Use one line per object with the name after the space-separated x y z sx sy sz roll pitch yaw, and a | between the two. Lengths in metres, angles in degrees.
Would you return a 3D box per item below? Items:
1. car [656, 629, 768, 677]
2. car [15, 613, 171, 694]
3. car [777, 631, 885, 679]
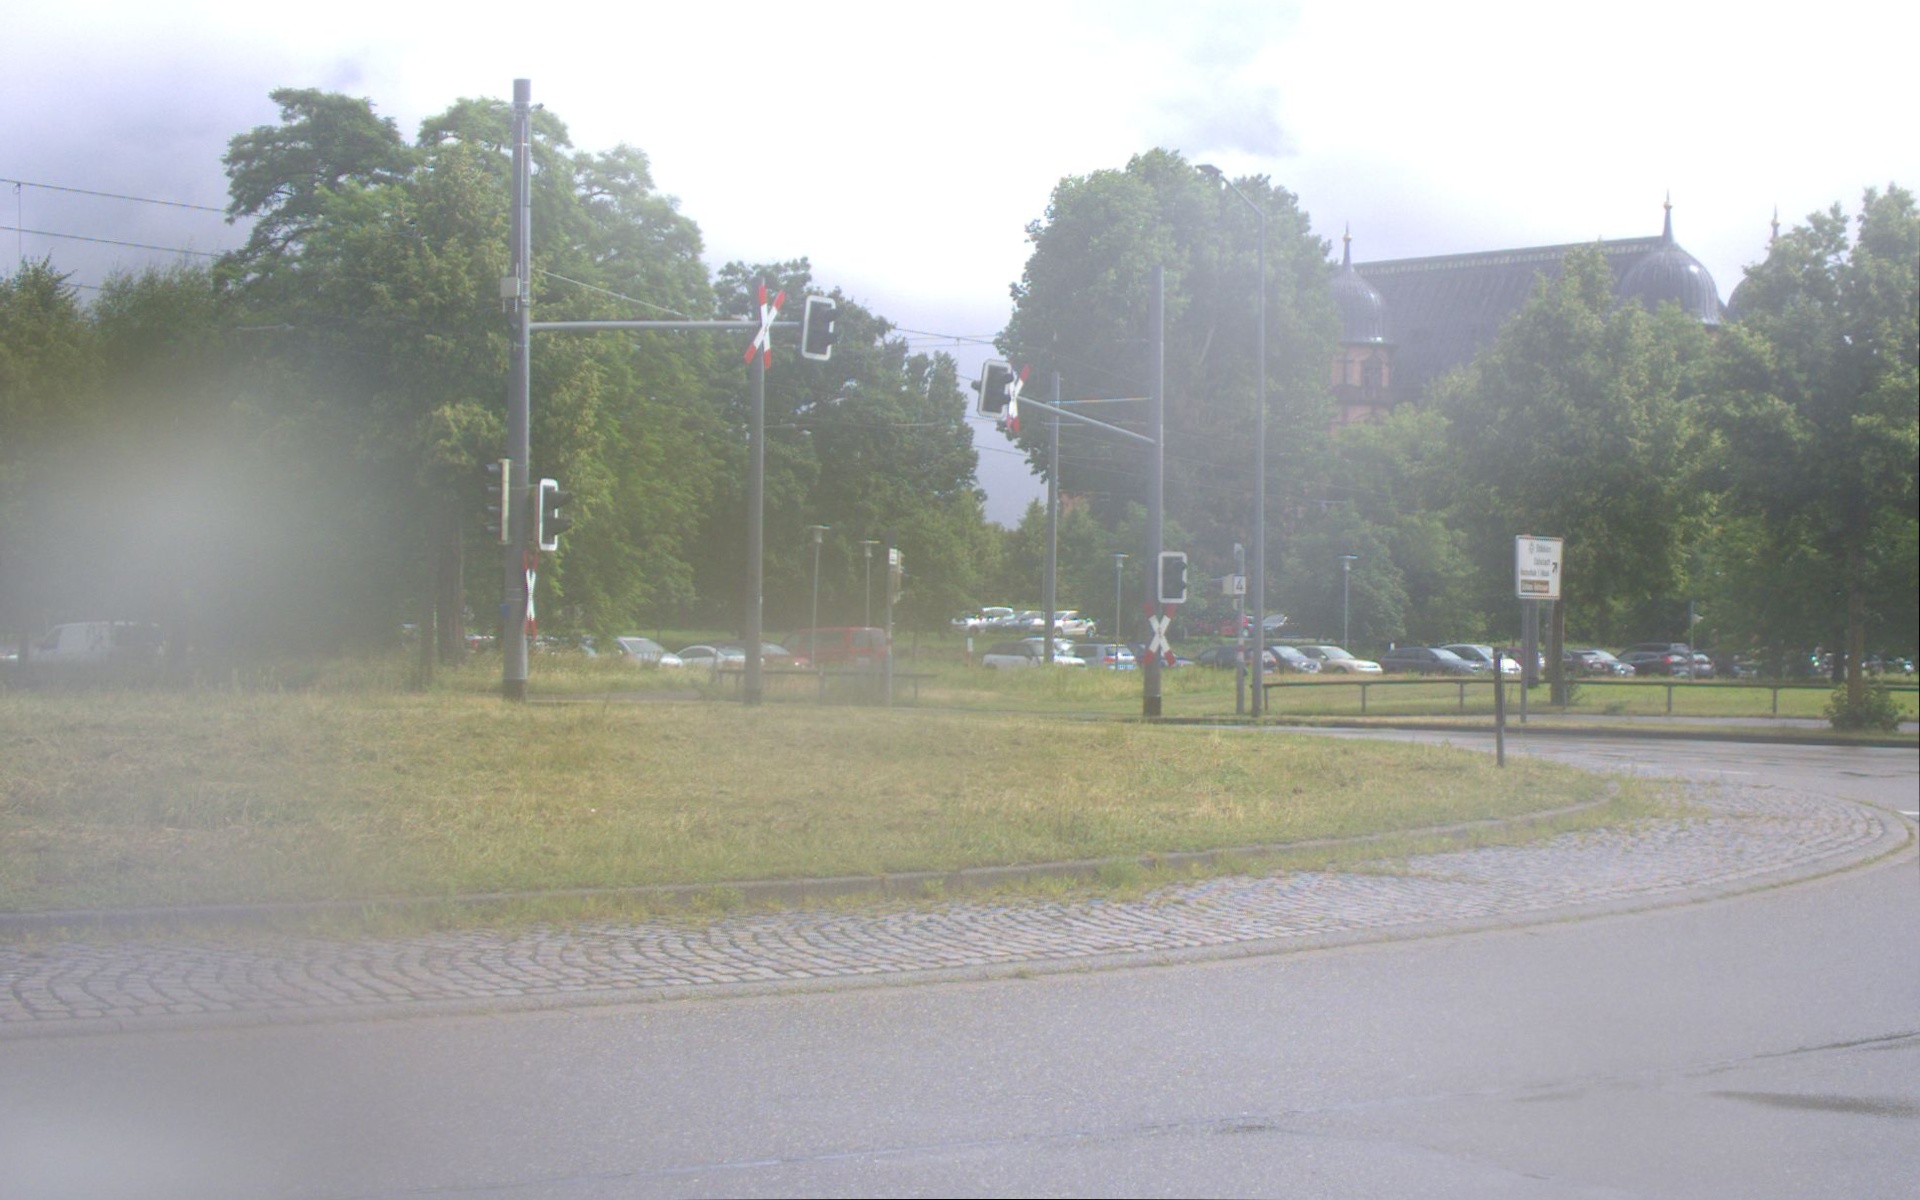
-7.759 1.649 107.445 1.640 1.457 3.609 2 -1 -41 | car
-23.653 1.431 93.687 2.107 2.050 5.159 0 0 -40 | car
-4.183 1.772 111.010 1.645 1.505 3.649 1 -1 -38 | car
